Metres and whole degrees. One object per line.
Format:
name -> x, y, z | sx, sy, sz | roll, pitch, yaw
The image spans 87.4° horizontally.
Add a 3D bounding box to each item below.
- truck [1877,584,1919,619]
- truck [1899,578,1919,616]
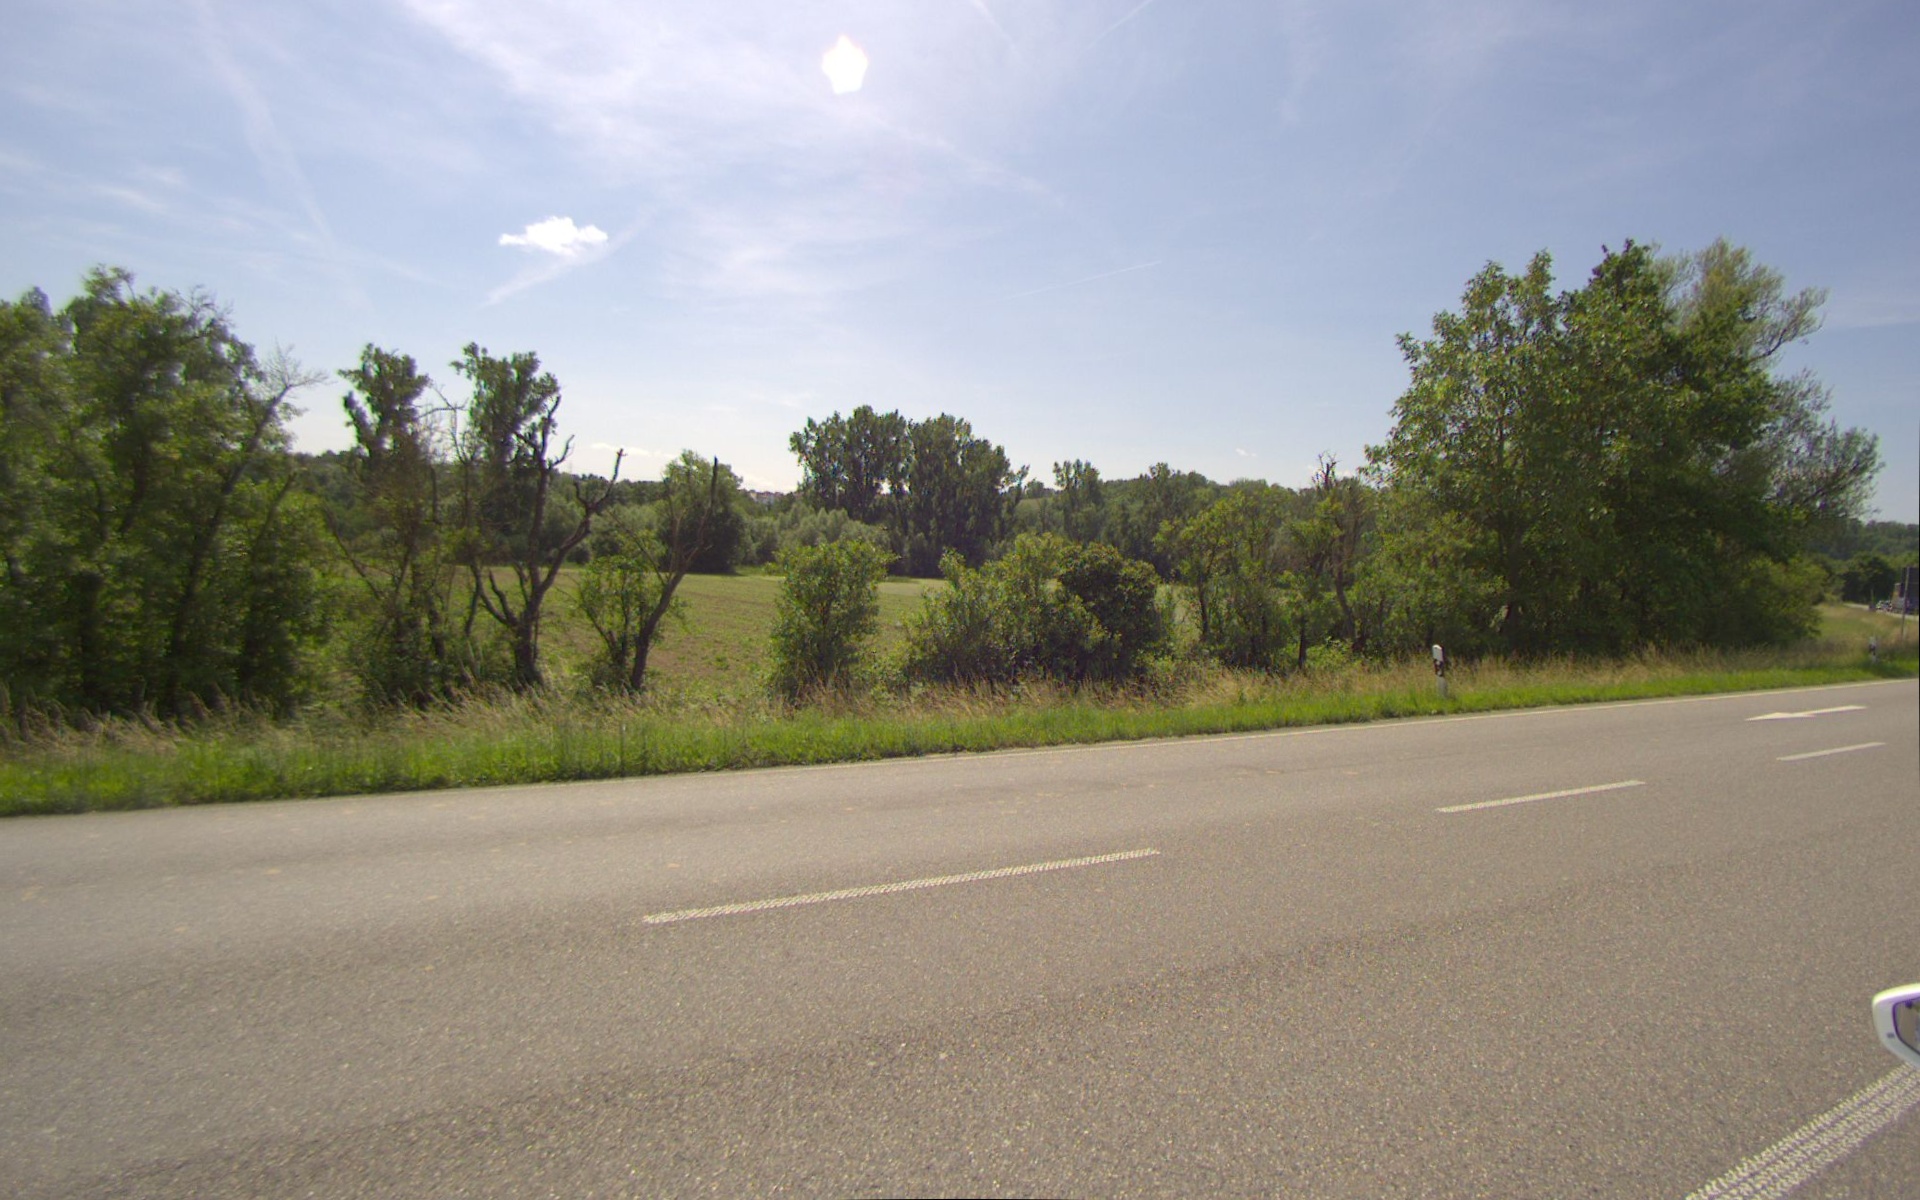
truck -> 129.189, 0.251, 137.600 | 3.483, 4.297, 13.361 | 5, 1, 35
truck -> 119.064, -0.221, 123.779 | 3.593, 4.184, 13.040 | 5, 1, 39
